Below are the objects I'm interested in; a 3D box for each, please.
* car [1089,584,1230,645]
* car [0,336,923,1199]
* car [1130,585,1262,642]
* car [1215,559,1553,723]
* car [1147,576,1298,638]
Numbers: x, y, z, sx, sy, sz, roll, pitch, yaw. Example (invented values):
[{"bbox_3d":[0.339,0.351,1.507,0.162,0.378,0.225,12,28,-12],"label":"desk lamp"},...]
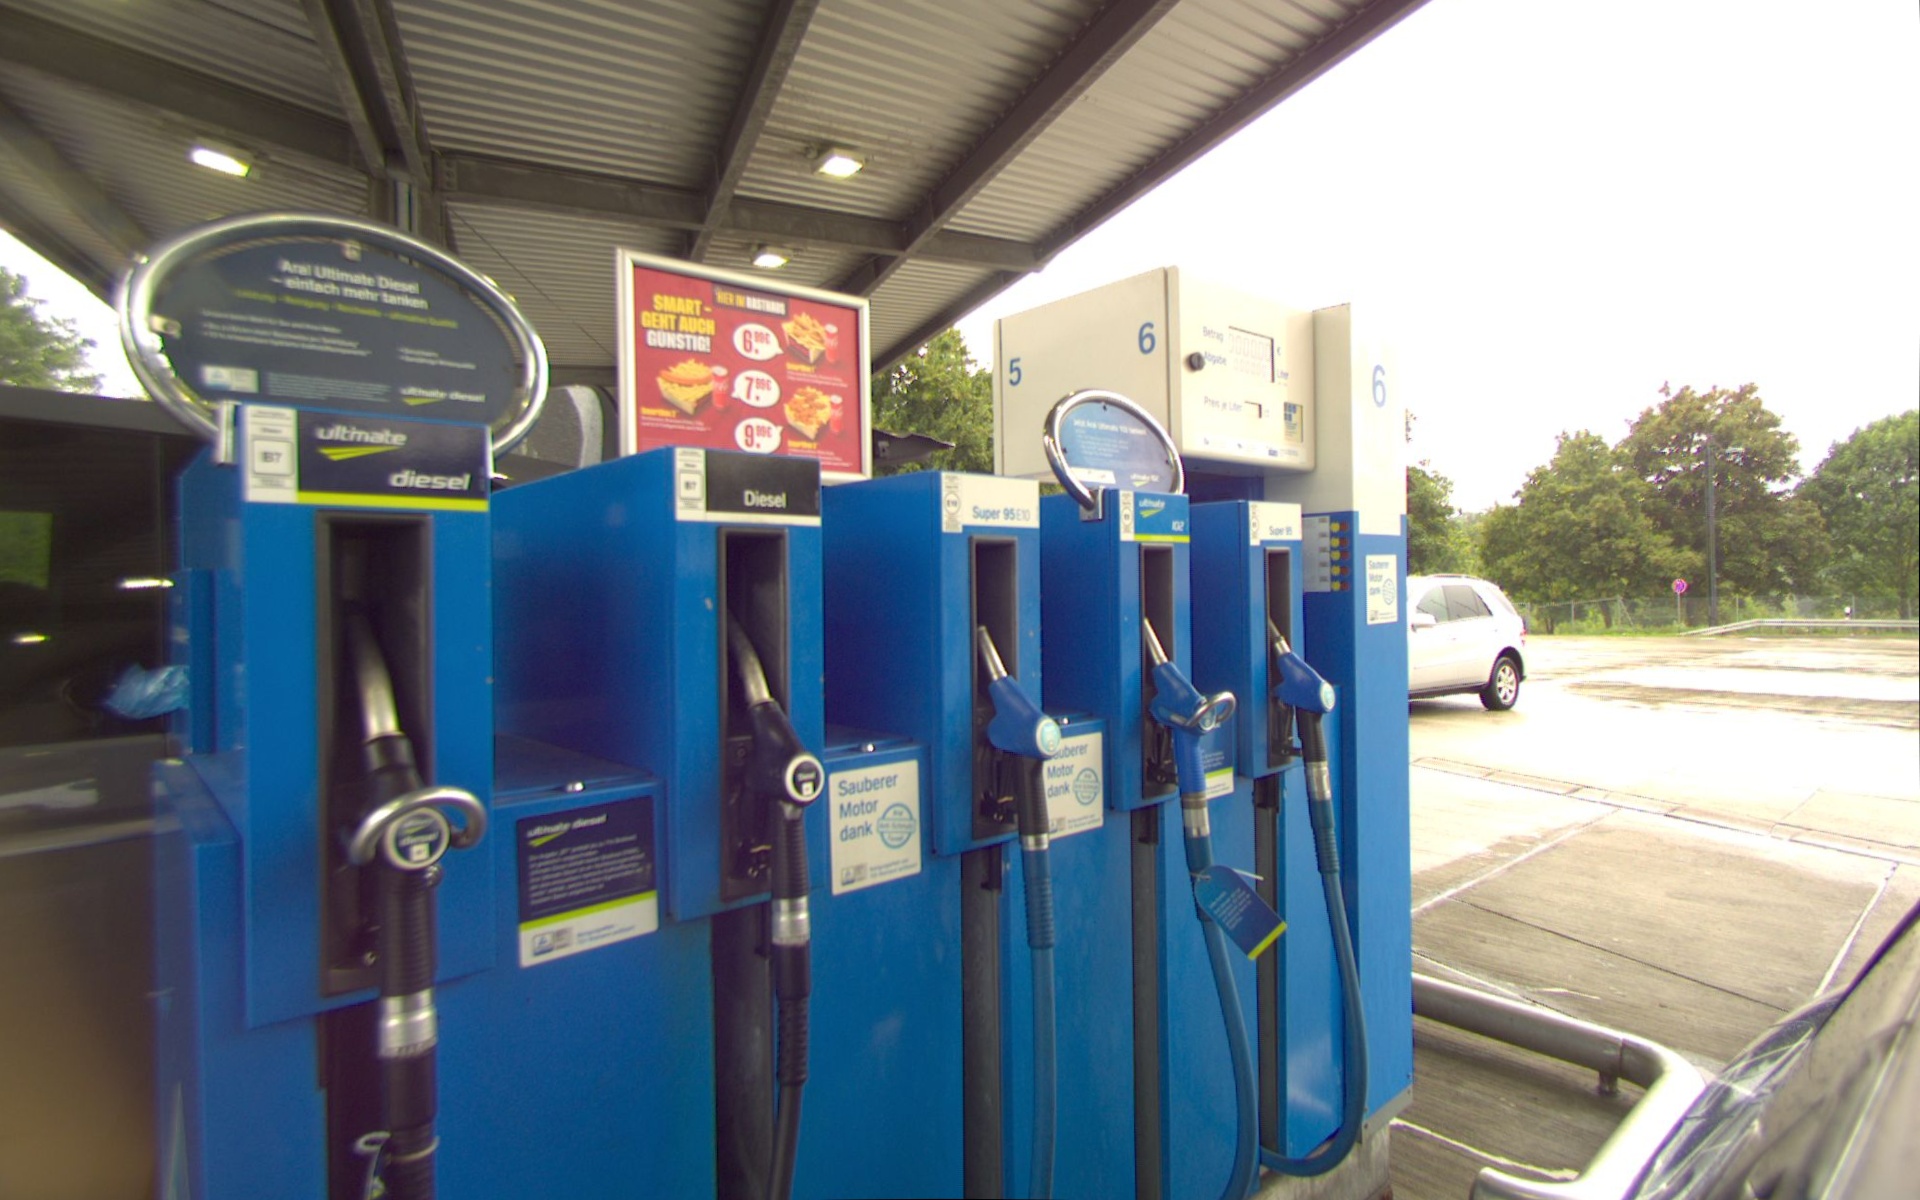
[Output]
[{"bbox_3d":[5.860,0.379,29.730,3.941,1.680,1.593,1,0,14],"label":"car"},{"bbox_3d":[-2.610,0.506,1.817,5.050,1.821,1.864,-1,0,-41],"label":"car"},{"bbox_3d":[7.415,0.390,31.921,3.941,1.680,1.593,1,0,14],"label":"car"},{"bbox_3d":[5.603,0.452,13.206,4.450,1.821,1.868,0,0,-32],"label":"car"},{"bbox_3d":[8.876,0.212,34.503,4.817,1.974,2.306,1,1,14],"label":"car"}]
